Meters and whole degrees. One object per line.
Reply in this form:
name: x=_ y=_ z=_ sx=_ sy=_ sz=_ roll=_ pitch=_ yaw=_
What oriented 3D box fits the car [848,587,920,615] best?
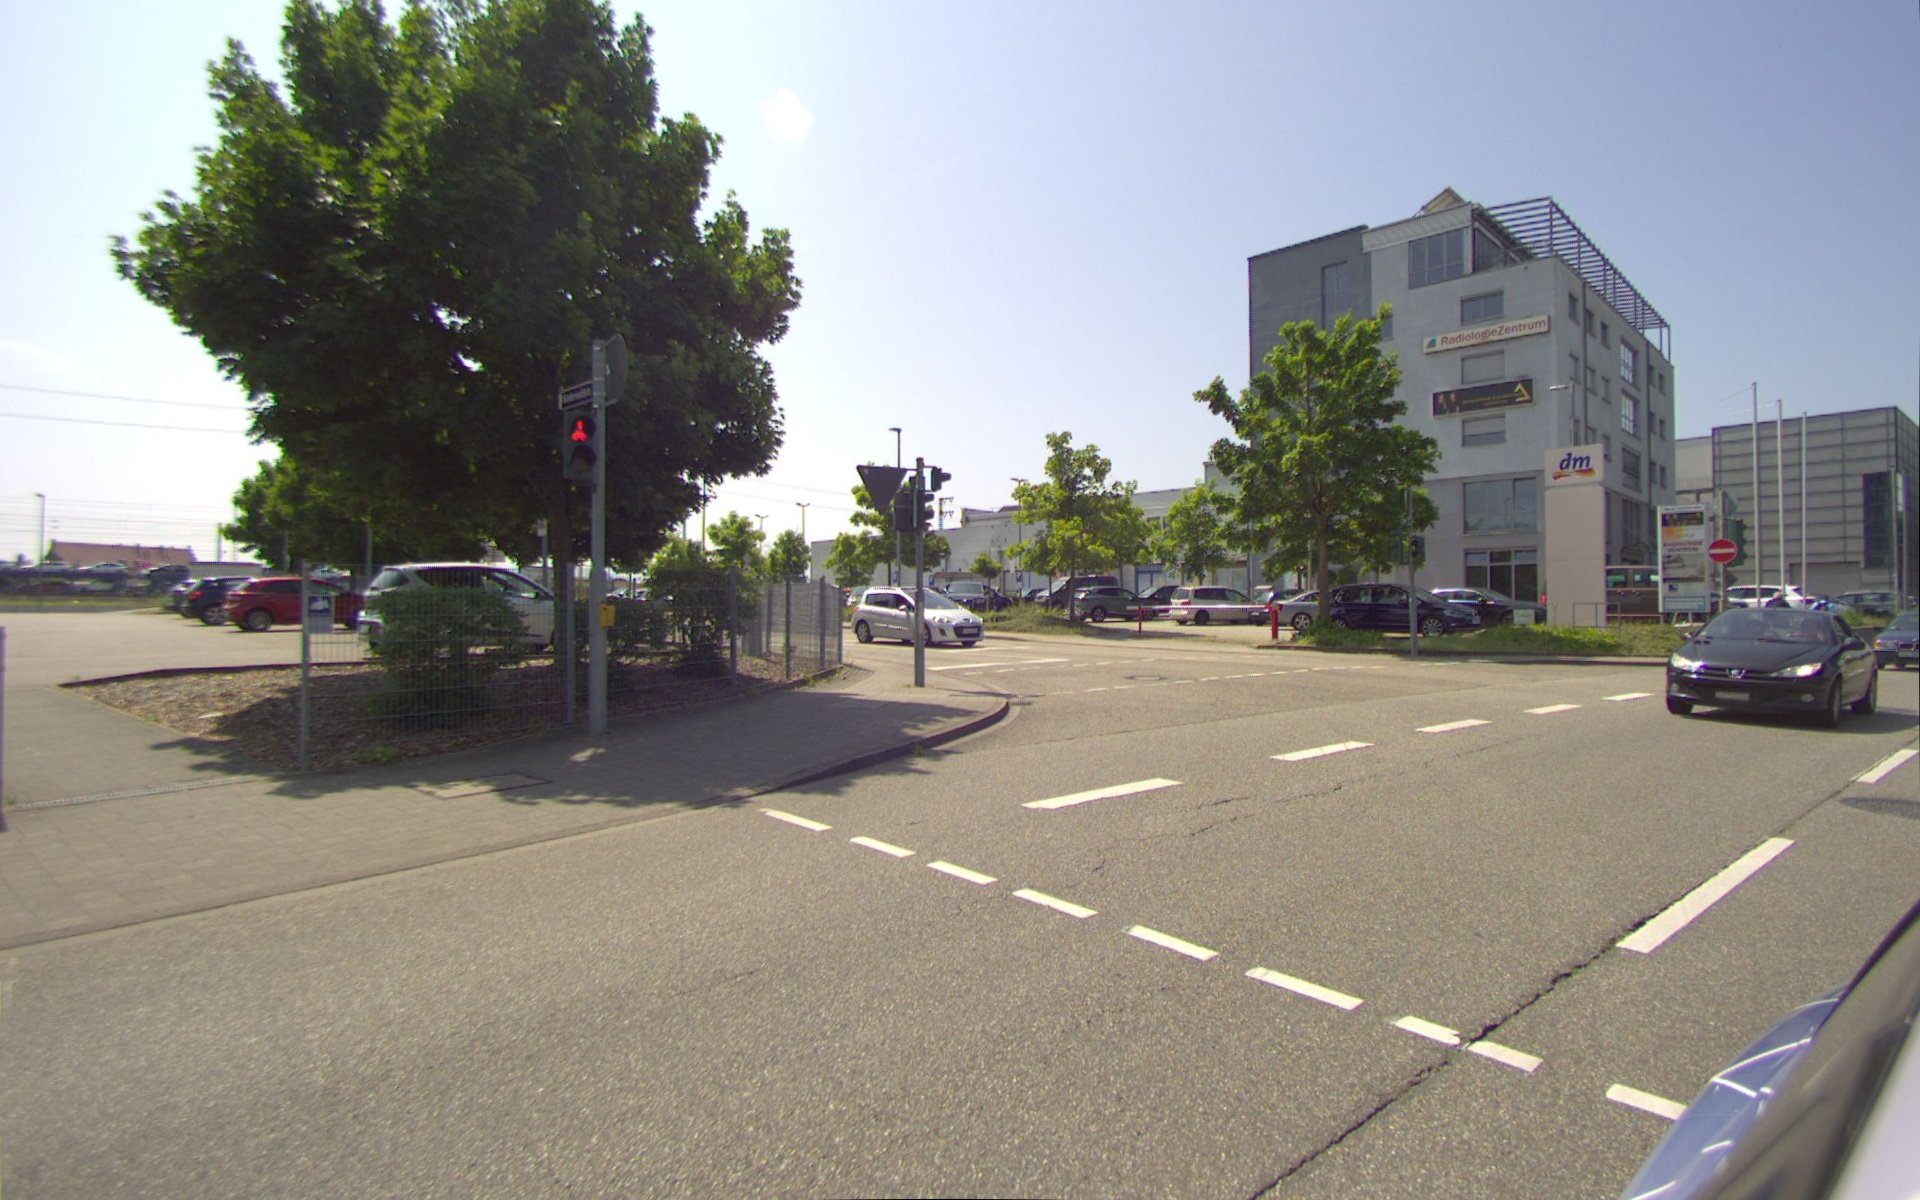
car: x=-4.521 y=0.032 z=60.142 sx=3.916 sy=1.616 sz=1.771 roll=0 pitch=0 yaw=-21

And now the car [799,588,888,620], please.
car: x=-5.124 y=0.163 z=44.710 sx=3.540 sy=1.371 sz=1.750 roll=0 pitch=1 yaw=-40

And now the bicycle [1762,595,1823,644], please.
bicycle: x=20.282 y=0.469 z=24.638 sx=1.873 sy=1.147 sz=0.759 roll=0 pitch=-2 yaw=-39

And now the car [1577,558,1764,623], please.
car: x=22.346 y=-0.256 z=31.960 sx=1.965 sy=1.721 sz=4.416 roll=-1 pitch=-3 yaw=-40

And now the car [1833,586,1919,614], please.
car: x=50.967 y=-0.014 z=55.768 sx=1.727 sy=1.505 sz=4.135 roll=0 pitch=0 yaw=-39

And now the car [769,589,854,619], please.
car: x=-6.946 y=0.162 z=47.462 sx=3.540 sy=1.371 sz=1.750 roll=0 pitch=1 yaw=-40

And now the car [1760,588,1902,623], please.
car: x=39.875 y=0.270 z=46.415 sx=1.769 sy=1.399 sz=4.751 roll=0 pitch=-2 yaw=-43

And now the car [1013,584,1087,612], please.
car: x=5.221 y=-0.134 z=58.772 sx=3.916 sy=1.594 sz=1.769 roll=0 pitch=0 yaw=-20

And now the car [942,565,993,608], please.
car: x=0.370 y=-0.540 z=42.036 sx=1.963 sy=1.660 sz=4.344 roll=0 pitch=0 yaw=2

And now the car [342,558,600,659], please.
car: x=-7.808 y=0.116 z=16.358 sx=3.476 sy=1.456 sz=1.421 roll=1 pitch=1 yaw=-45

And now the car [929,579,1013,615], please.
car: x=0.569 y=-0.136 z=53.132 sx=4.104 sy=1.812 sz=1.676 roll=1 pitch=-2 yaw=-17

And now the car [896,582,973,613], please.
car: x=-1.408 y=-0.133 z=55.743 sx=3.916 sy=1.660 sz=1.725 roll=0 pitch=0 yaw=-21

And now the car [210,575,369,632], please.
car: x=-18.376 y=0.076 z=27.807 sx=1.701 sy=1.466 sz=3.372 roll=1 pitch=1 yaw=44

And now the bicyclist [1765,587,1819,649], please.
bicyclist: x=20.225 y=0.432 z=24.596 sx=1.071 sy=1.483 sz=0.776 roll=0 pitch=-2 yaw=-39

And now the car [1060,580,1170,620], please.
car: x=7.253 y=-0.010 z=47.435 sx=4.647 sy=1.734 sz=2.003 roll=-1 pitch=-1 yaw=-20

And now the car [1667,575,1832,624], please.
car: x=28.914 y=0.008 z=37.158 sx=2.061 sy=1.630 sz=4.467 roll=-1 pitch=-1 yaw=-42

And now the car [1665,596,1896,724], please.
car: x=10.469 y=0.657 z=12.852 sx=3.437 sy=1.373 sz=1.640 roll=0 pitch=1 yaw=-40

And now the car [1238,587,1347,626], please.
car: x=13.538 y=0.256 z=41.231 sx=3.917 sy=1.505 sz=2.004 roll=0 pitch=1 yaw=-25

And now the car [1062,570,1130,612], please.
car: x=7.477 y=-0.480 z=55.871 sx=3.358 sy=2.222 sz=1.675 roll=1 pitch=-2 yaw=-12

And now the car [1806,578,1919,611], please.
car: x=45.472 y=-0.267 z=50.965 sx=1.727 sy=1.505 sz=4.134 roll=0 pitch=-1 yaw=-40

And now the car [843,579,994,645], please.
car: x=-1.198 y=0.302 z=27.449 sx=1.777 sy=1.638 sz=4.252 roll=0 pitch=0 yaw=-43

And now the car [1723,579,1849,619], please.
car: x=34.689 y=-0.027 z=42.633 sx=3.977 sy=1.505 sz=1.734 roll=-2 pitch=-1 yaw=38

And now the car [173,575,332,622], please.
car: x=-23.456 y=-0.046 z=33.646 sx=4.246 sy=1.468 sz=1.708 roll=0 pitch=0 yaw=-39

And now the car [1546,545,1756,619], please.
car: x=20.515 y=-0.461 z=30.230 sx=2.144 sy=1.822 sz=4.702 roll=0 pitch=-3 yaw=-39

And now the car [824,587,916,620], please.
car: x=-3.820 y=0.123 z=43.146 sx=3.540 sy=1.371 sz=1.750 roll=0 pitch=1 yaw=-40

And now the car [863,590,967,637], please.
car: x=-1.493 y=0.399 z=32.654 sx=1.592 sy=1.419 sz=3.426 roll=0 pitch=0 yaw=-41

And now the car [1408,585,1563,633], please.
car: x=16.028 y=0.242 z=30.994 sx=1.727 sy=1.356 sz=3.874 roll=0 pitch=0 yaw=-44

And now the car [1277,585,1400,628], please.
car: x=13.263 y=0.196 z=35.725 sx=3.946 sy=1.415 sz=1.806 roll=1 pitch=0 yaw=18

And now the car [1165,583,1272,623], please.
car: x=10.974 y=0.106 z=43.059 sx=4.104 sy=1.620 sz=1.676 roll=0 pitch=0 yaw=-15

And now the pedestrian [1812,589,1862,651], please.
pedestrian: x=24.145 y=0.546 z=27.863 sx=0.987 sy=1.646 sz=0.830 roll=-2 pitch=-1 yaw=-39

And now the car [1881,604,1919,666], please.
car: x=22.830 y=0.764 z=23.378 sx=3.884 sy=1.340 sz=1.710 roll=-1 pitch=-2 yaw=-39

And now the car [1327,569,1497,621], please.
car: x=12.632 y=-0.134 z=28.416 sx=1.833 sy=1.356 sz=3.989 roll=0 pitch=0 yaw=-44
